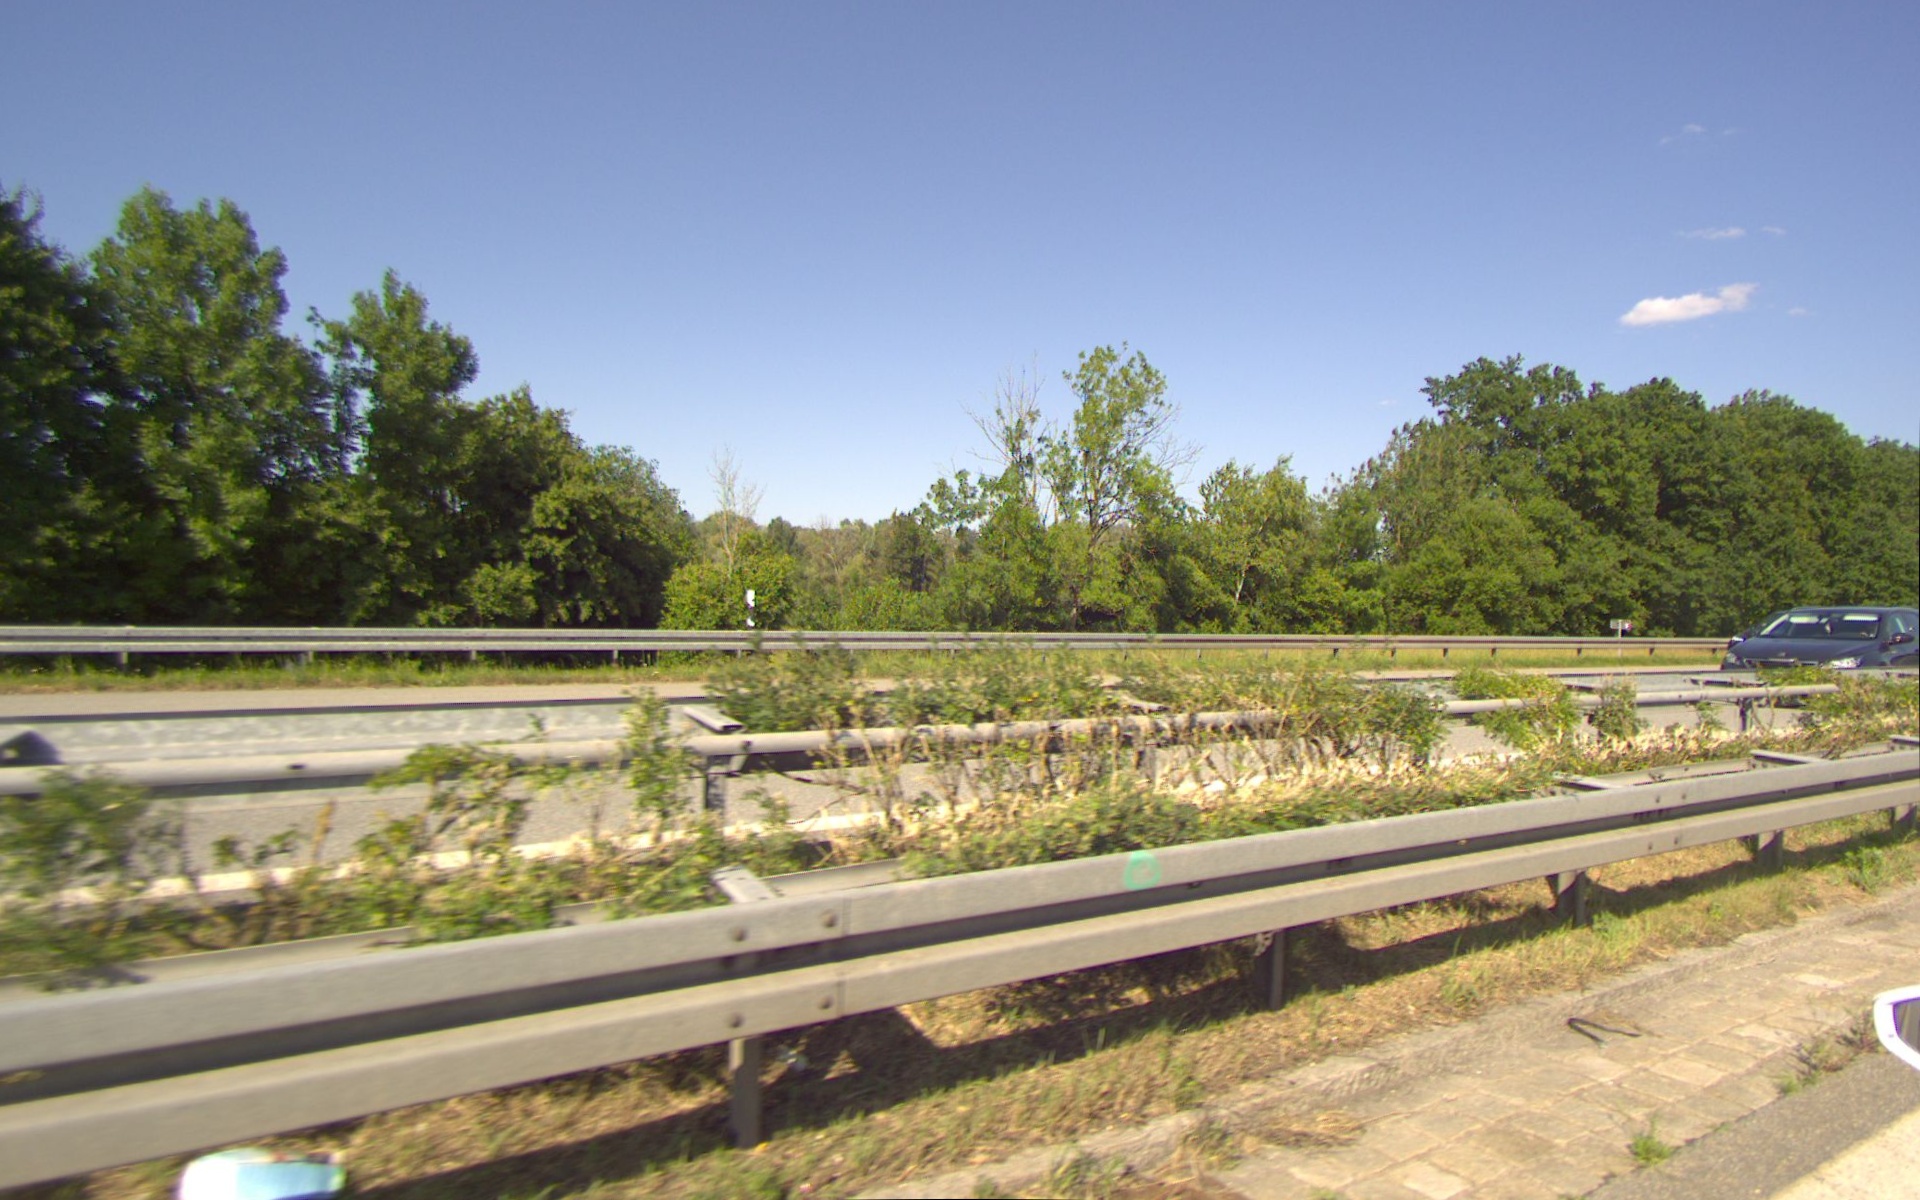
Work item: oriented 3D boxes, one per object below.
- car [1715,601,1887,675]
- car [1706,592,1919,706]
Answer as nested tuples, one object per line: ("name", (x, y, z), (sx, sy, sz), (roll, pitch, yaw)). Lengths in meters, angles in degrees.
("car", (20.484, 0.894, 24.426), (4.441, 1.656, 1.844), (1, -1, -31))
("car", (13.241, 0.693, 15.134), (3.954, 1.502, 1.844), (1, -1, -31))
